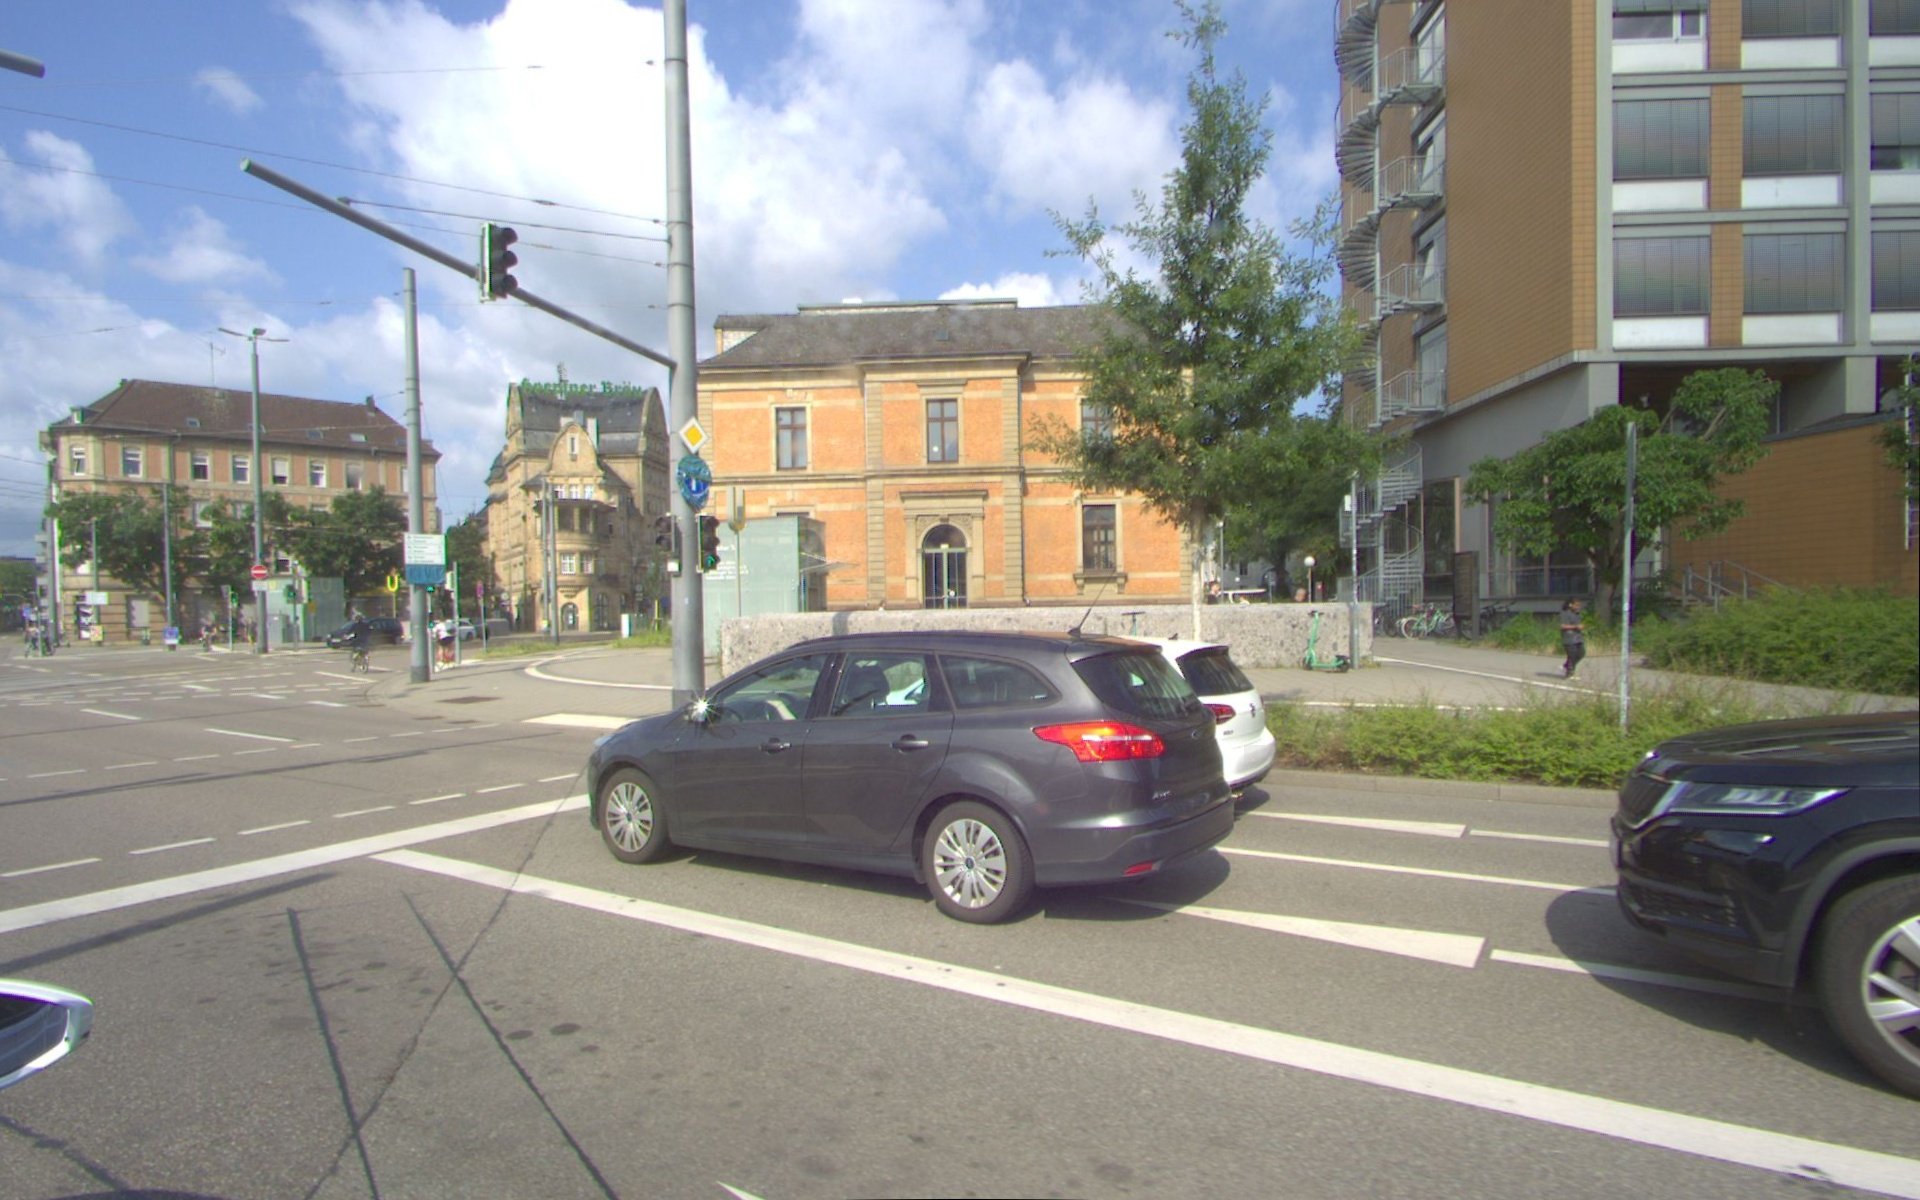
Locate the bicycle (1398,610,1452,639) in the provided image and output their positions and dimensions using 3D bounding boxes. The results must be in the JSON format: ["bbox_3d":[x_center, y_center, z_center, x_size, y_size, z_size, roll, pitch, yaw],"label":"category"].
[{"bbox_3d":[15.381,0.798,33.144,1.520,0.917,0.459,-1,0,5],"label":"bicycle"}]

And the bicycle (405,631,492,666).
[{"bbox_3d":[-16.098,1.540,31.482,3.065,1.040,0.991,-3,-4,32],"label":"bicycle"}]

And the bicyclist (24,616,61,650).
[{"bbox_3d":[-46.384,1.635,50.627,0.773,1.680,1.193,0,1,25],"label":"bicyclist"}]

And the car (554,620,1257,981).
[{"bbox_3d":[-0.464,0.933,6.322,4.193,1.549,1.764,0,0,31],"label":"car"}]

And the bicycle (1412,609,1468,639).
[{"bbox_3d":[15.263,0.757,31.872,1.520,0.917,0.459,-1,0,5],"label":"bicycle"}]

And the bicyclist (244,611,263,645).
[{"bbox_3d":[-36.419,1.438,51.631,0.646,1.693,0.571,-1,0,29],"label":"bicyclist"}]

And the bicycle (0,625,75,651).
[{"bbox_3d":[-46.500,1.894,50.497,0.886,1.186,2.671,0,0,25],"label":"bicycle"}]

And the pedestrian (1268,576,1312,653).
[{"bbox_3d":[7.154,0.307,21.689,0.754,1.610,0.768,1,4,32],"label":"pedestrian"}]

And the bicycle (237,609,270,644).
[{"bbox_3d":[-36.425,1.378,51.648,1.612,1.801,0.728,-1,0,29],"label":"bicycle"}]

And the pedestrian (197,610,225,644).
[{"bbox_3d":[-40.476,1.458,54.087,0.871,1.833,0.866,0,-1,21],"label":"pedestrian"}]

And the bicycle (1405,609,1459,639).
[{"bbox_3d":[15.318,0.778,32.513,1.520,0.917,0.459,-1,0,5],"label":"bicycle"}]

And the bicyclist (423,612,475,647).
[{"bbox_3d":[-16.069,0.943,31.489,1.198,1.040,0.989,-3,-4,32],"label":"bicyclist"}]

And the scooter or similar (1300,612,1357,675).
[{"bbox_3d":[7.164,0.828,19.500,0.396,1.146,1.184,-1,1,-19],"label":"scooter or similar"}]

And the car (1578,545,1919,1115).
[{"bbox_3d":[4.639,0.681,3.057,4.615,1.689,1.991,-1,-2,31],"label":"car"}]

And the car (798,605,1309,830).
[{"bbox_3d":[0.720,0.876,8.872,4.172,1.464,1.676,2,-2,33],"label":"car"}]

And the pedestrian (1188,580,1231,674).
[{"bbox_3d":[5.514,0.583,22.151,0.792,2.041,0.724,-2,2,8],"label":"pedestrian"}]

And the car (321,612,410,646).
[{"bbox_3d":[-32.422,1.592,54.757,1.961,1.761,4.343,0,-2,5],"label":"car"}]

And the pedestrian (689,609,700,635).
[{"bbox_3d":[-15.550,1.280,58.741,0.497,1.525,0.499,-1,0,-2],"label":"pedestrian"}]

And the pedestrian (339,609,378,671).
[{"bbox_3d":[-18.434,1.219,30.693,0.982,1.865,0.990,1,-1,-32],"label":"pedestrian"}]

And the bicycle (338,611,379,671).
[{"bbox_3d":[-18.448,1.249,30.673,0.995,1.747,2.455,1,-2,-32],"label":"bicycle"}]

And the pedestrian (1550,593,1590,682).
[{"bbox_3d":[10.865,0.658,17.835,0.573,1.541,0.476,0,2,36],"label":"pedestrian"}]

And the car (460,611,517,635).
[{"bbox_3d":[-32.988,1.593,70.207,1.721,1.621,3.999,-1,0,7],"label":"car"}]

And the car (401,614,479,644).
[{"bbox_3d":[-31.632,1.730,61.083,1.961,1.617,4.683,0,1,6],"label":"car"}]

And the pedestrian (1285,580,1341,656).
[{"bbox_3d":[7.864,0.378,22.315,0.753,1.610,0.934,-3,4,-27],"label":"pedestrian"}]

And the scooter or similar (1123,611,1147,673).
[{"bbox_3d":[3.551,0.840,20.391,0.395,1.213,1.186,0,1,6],"label":"scooter or similar"}]
